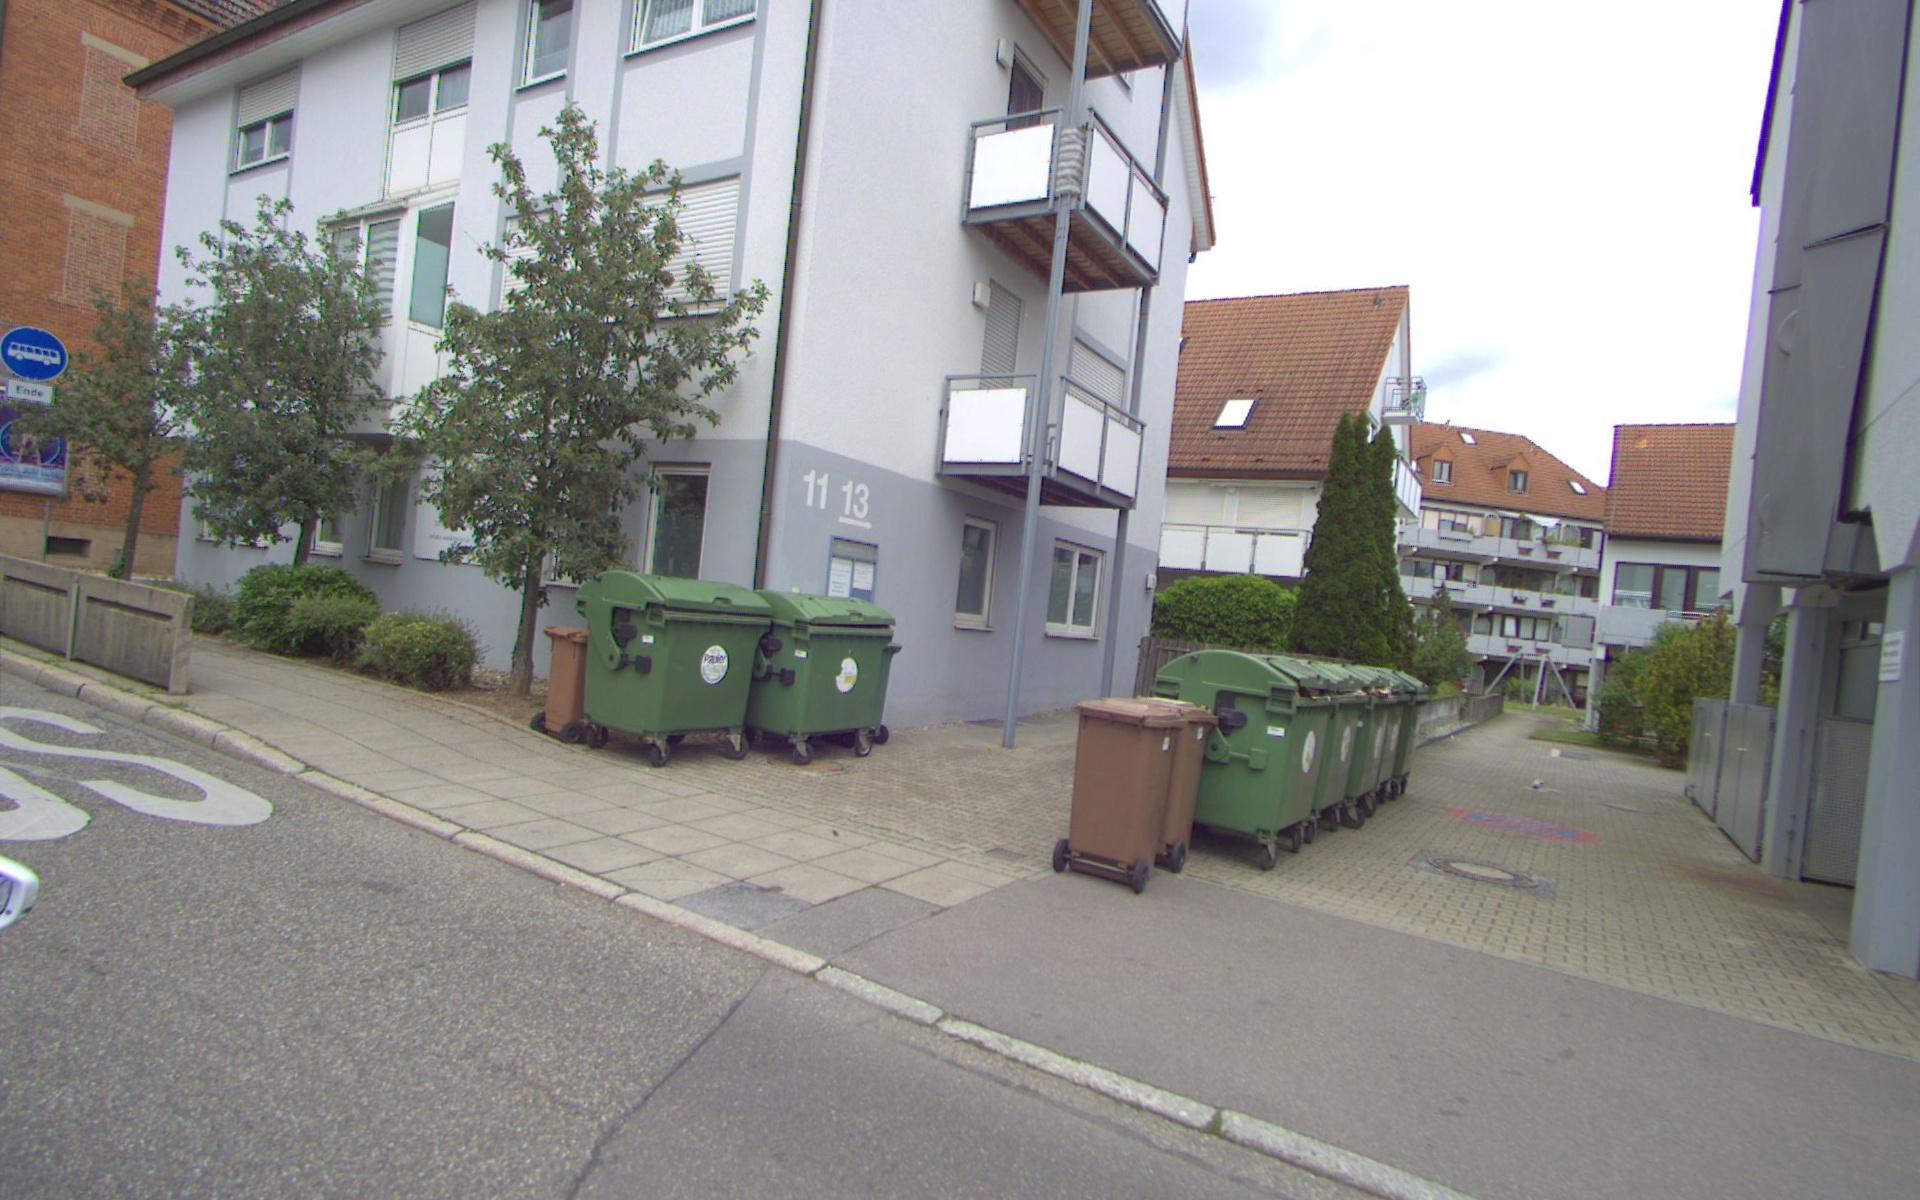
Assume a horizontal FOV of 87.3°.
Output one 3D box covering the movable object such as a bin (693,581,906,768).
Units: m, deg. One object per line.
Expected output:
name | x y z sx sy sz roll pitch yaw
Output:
movable object such as a bin | -1.455 0.658 9.240 1.286 1.452 1.269 7 0 32

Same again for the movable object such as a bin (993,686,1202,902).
movable object such as a bin | 0.846 1.135 6.173 0.956 1.080 0.683 7 0 35

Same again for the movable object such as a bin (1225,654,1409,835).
movable object such as a bin | 3.430 1.329 9.632 1.239 1.435 1.210 7 0 35

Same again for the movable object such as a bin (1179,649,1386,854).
movable object such as a bin | 2.759 1.231 8.571 1.239 1.435 1.210 7 0 35

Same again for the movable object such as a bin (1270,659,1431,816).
movable object such as a bin | 4.250 1.446 10.927 1.239 1.435 1.210 7 0 35

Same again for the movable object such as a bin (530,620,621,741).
movable object such as a bin | -3.214 0.667 8.416 0.457 0.932 0.430 7 1 32

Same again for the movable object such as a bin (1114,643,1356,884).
movable object such as a bin | 2.043 1.129 7.413 1.239 1.435 1.210 7 0 35

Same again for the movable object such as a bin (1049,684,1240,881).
movable object such as a bin | 1.245 1.177 6.783 0.956 1.092 0.698 7 0 35

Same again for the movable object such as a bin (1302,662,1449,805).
movable object such as a bin | 4.946 1.542 11.960 1.239 1.435 1.210 7 0 35

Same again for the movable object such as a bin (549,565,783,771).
movable object such as a bin | -2.375 0.536 8.220 1.143 1.435 1.269 7 0 32
